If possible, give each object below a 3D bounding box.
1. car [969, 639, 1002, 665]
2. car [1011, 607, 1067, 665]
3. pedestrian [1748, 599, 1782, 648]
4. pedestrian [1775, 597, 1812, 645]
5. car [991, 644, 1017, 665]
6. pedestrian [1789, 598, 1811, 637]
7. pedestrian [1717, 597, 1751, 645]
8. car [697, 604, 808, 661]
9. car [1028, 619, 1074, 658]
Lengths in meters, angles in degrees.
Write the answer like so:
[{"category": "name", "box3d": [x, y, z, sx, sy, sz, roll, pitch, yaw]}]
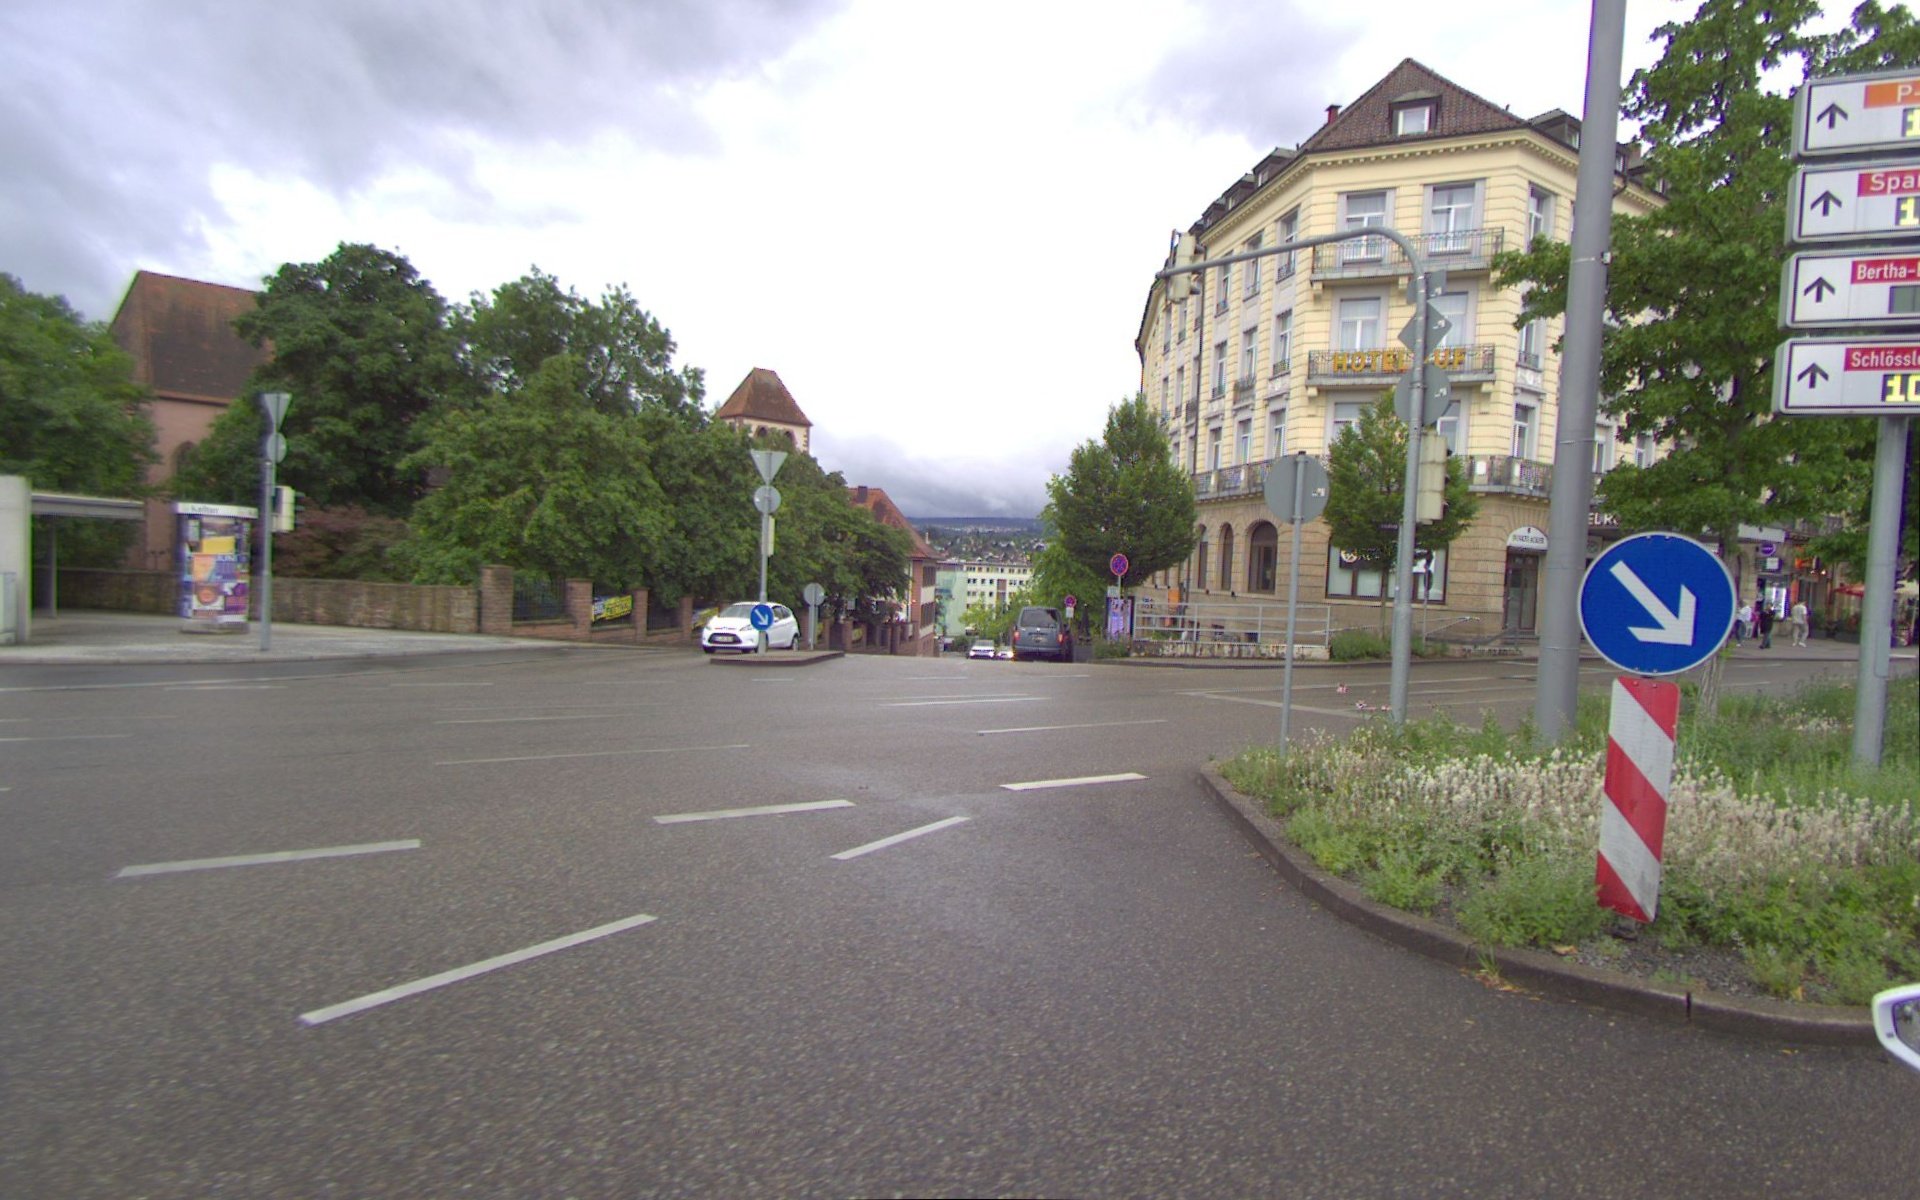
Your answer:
[{"category": "car", "box3d": [1.854, 3.730, 72.890, 1.959, 1.706, 4.002, 1, -1, 7]}, {"category": "car", "box3d": [2.747, 1.180, 34.358, 1.602, 1.783, 4.002, 1, 0, 8]}, {"category": "pedestrian", "box3d": [28.443, 0.834, 35.486, 0.798, 1.686, 0.678, 1, 0, -32]}, {"category": "pedestrian", "box3d": [32.448, 0.843, 39.110, 0.742, 1.836, 0.875, 1, -2, -32]}, {"category": "car", "box3d": [3.910, 4.799, 88.706, 1.959, 1.706, 4.002, 1, -1, 7]}, {"category": "pedestrian", "box3d": [37.019, 0.764, 44.272, 0.532, 1.686, 0.661, 1, 0, -40]}, {"category": "pedestrian", "box3d": [27.930, 0.762, 36.244, 0.797, 1.686, 0.678, 1, 0, -29]}, {"category": "car", "box3d": [-5.670, 0.865, 27.926, 1.602, 1.416, 4.003, 1, -1, 11]}, {"category": "car", "box3d": [3.739, 1.522, 40.750, 1.602, 1.417, 4.002, 1, 0, 8]}]
